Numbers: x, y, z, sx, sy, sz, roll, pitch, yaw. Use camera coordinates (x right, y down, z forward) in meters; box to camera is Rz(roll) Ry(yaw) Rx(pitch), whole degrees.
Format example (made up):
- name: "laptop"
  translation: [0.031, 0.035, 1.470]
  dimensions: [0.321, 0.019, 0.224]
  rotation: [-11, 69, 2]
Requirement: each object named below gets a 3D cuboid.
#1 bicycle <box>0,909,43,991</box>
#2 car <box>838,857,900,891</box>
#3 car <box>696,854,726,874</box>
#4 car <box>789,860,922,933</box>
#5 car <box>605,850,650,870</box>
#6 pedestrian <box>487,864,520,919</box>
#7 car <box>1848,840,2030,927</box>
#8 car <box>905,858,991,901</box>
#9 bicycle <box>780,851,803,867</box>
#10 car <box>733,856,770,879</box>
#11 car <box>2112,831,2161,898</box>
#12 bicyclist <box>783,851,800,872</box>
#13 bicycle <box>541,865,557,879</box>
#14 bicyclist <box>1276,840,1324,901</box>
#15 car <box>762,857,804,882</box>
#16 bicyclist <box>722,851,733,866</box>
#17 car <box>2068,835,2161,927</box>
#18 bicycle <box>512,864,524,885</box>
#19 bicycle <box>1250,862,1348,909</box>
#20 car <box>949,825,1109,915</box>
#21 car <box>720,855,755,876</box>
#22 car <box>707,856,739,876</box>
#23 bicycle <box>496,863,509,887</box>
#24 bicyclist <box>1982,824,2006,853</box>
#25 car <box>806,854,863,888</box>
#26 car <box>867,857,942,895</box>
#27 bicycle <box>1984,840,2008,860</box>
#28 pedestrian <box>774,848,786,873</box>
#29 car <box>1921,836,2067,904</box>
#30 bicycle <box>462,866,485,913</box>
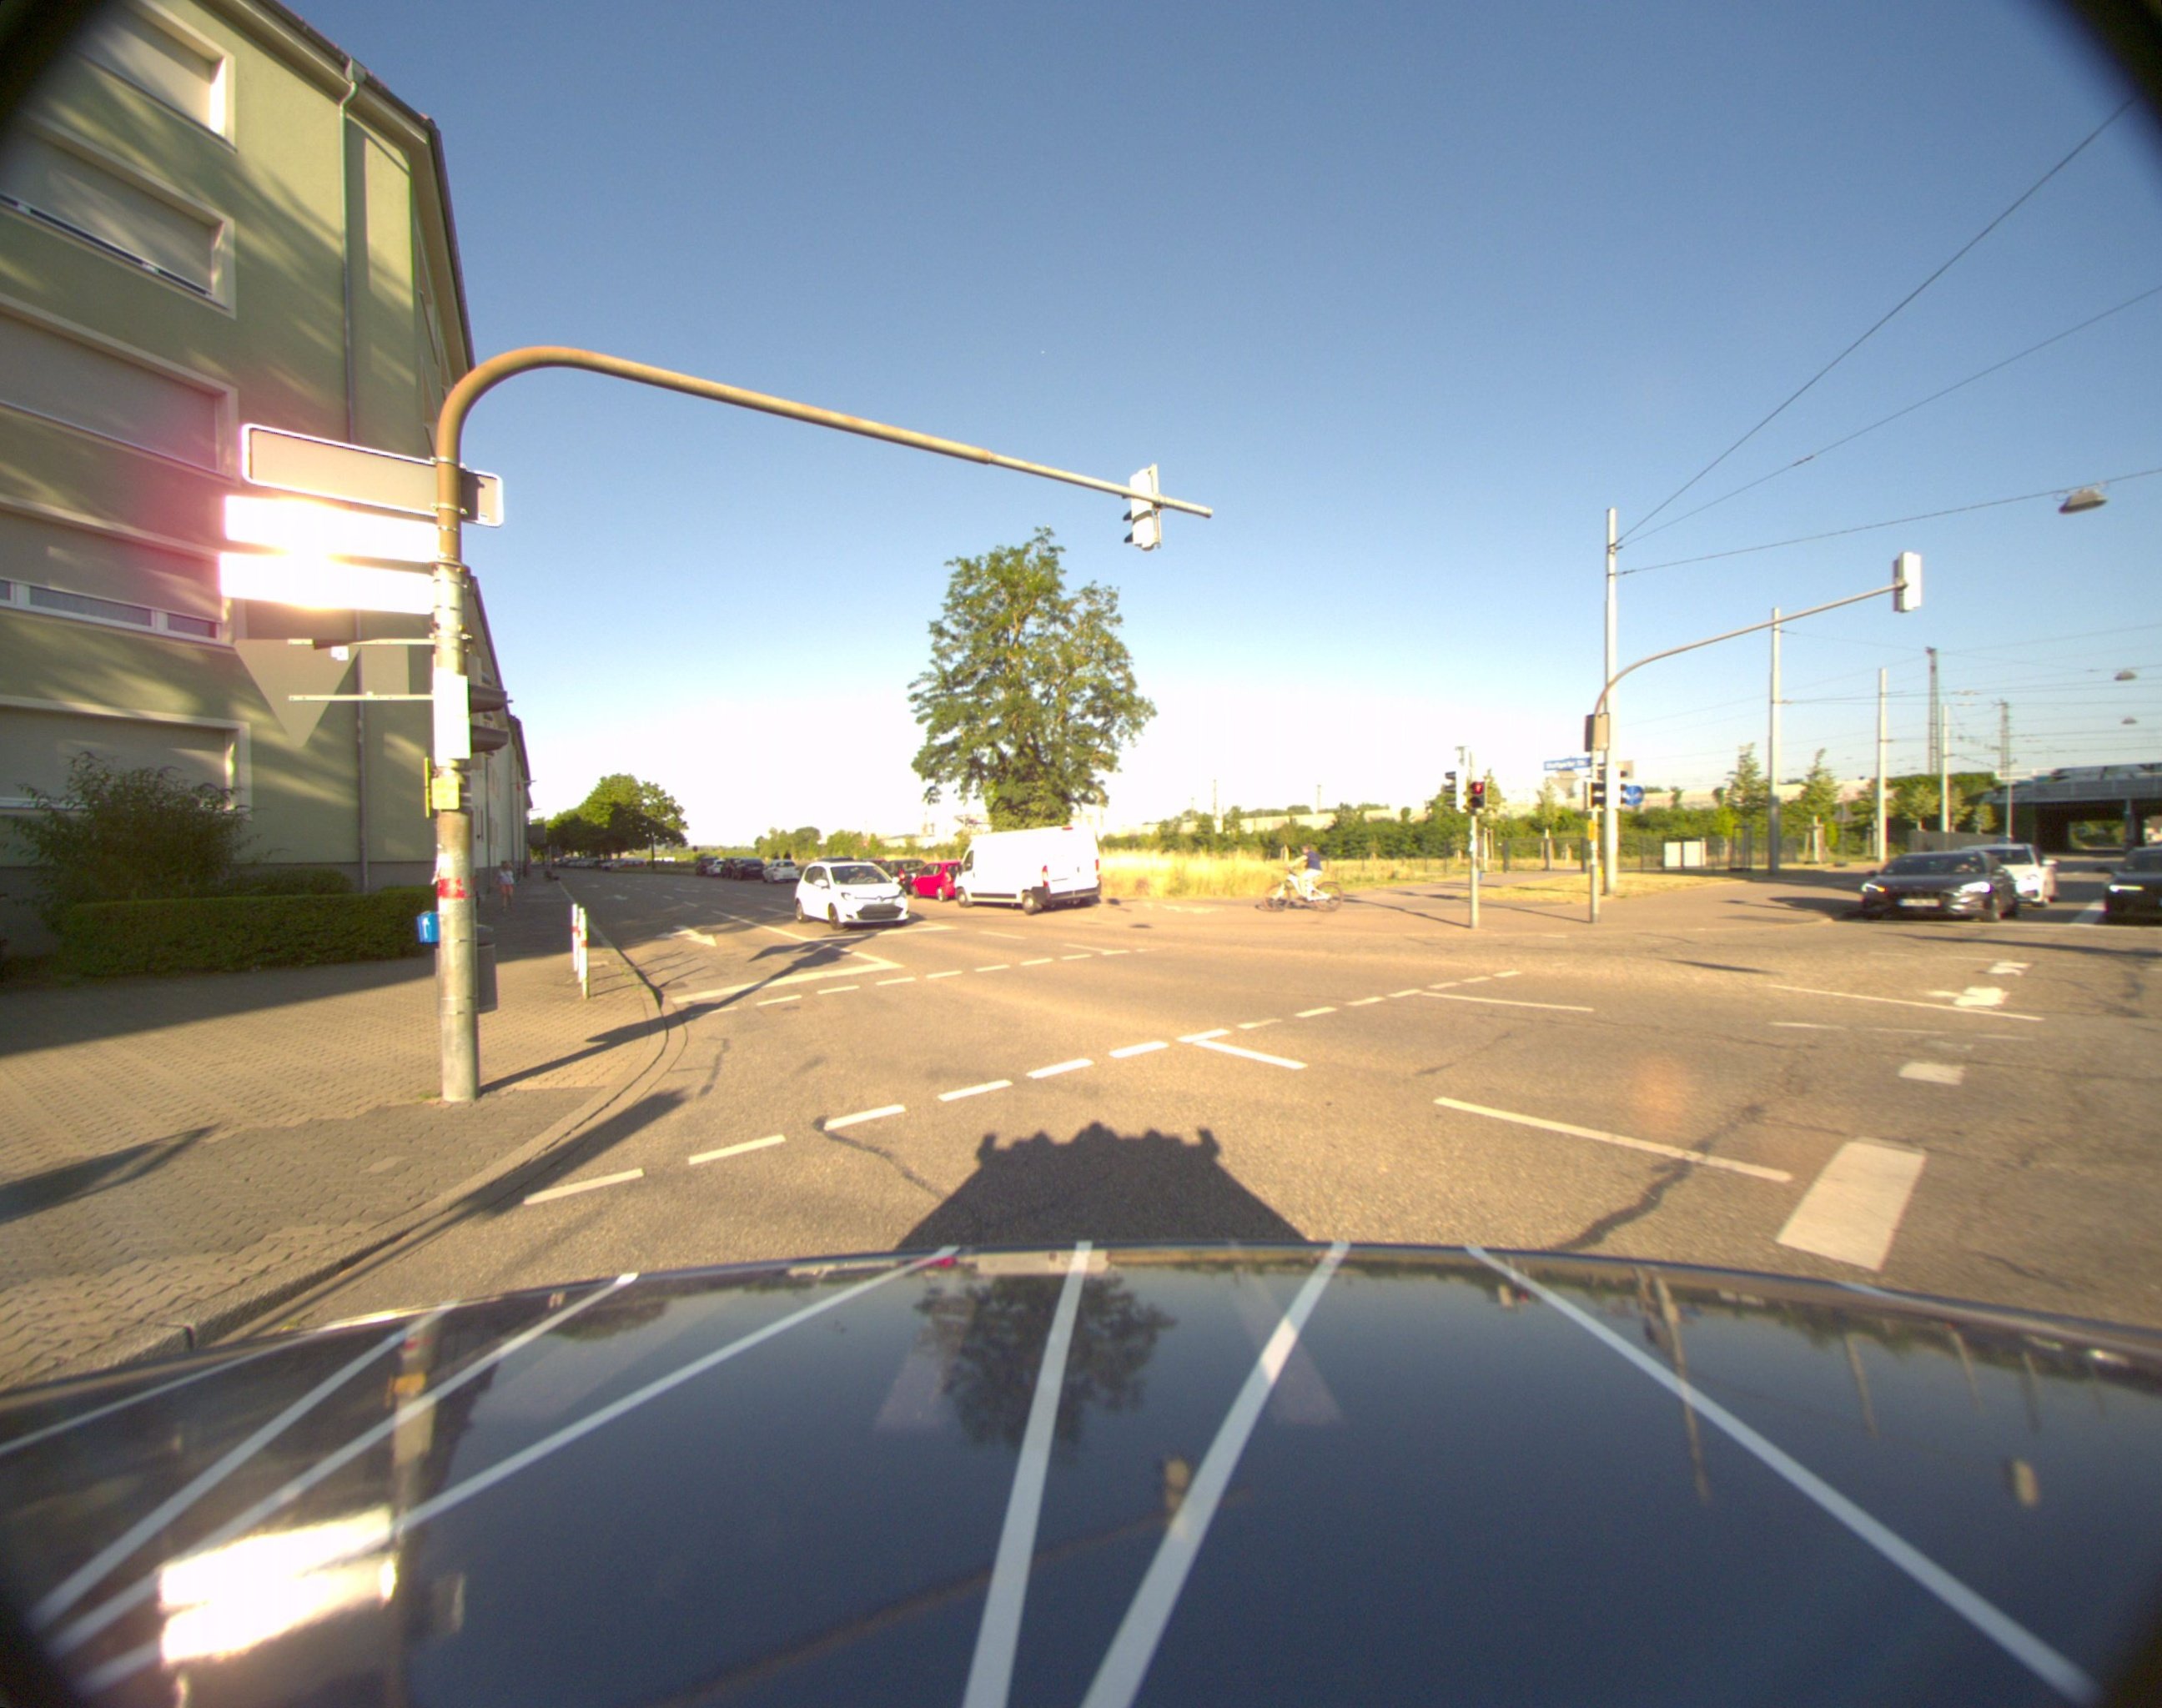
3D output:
- name: "bicycle"
  translation: [-14.453, 1.236, 9.816]
  dimensions: [1.844, 0.996, 0.647]
  rotation: [-1, 1, 17]
- name: "car"
  translation: [-10.164, 0.919, 36.337]
  dimensions: [1.668, 1.521, 3.570]
  rotation: [-2, 1, -37]
- name: "car"
  translation: [-34.052, 0.876, 69.850]
  dimensions: [1.896, 1.765, 4.208]
  rotation: [-2, 1, -34]
- name: "car"
  translation: [-5.279, 0.880, 17.503]
  dimensions: [1.709, 1.460, 3.765]
  rotation: [-2, 1, -37]
- name: "car"
  translation: [-65.682, 0.790, 110.067]
  dimensions: [5.333, 2.399, 2.260]
  rotation: [-6, 4, -36]
- name: "pedestrian"
  translation: [-18.832, 1.204, 24.790]
  dimensions: [0.789, 1.697, 0.947]
  rotation: [-1, 2, -36]
- name: "car"
  translation: [18.309, 0.551, 16.174]
  dimensions: [4.282, 1.558, 1.995]
  rotation: [-2, 0, -34]
- name: "car"
  translation: [-5.166, 0.933, 29.258]
  dimensions: [1.750, 1.478, 3.684]
  rotation: [-2, 1, -37]
- name: "bicycle"
  translation: [-22.340, 0.386, 58.538]
  dimensions: [0.942, 1.182, 2.475]
  rotation: [-2, 1, -38]
- name: "car"
  translation: [-24.320, 0.966, 55.984]
  dimensions: [1.828, 1.517, 4.279]
  rotation: [-2, 1, -32]
- name: "car"
  translation: [27.419, 0.216, 18.829]
  dimensions: [4.464, 1.558, 1.995]
  rotation: [-2, 1, -34]
- name: "bicyclist"
  translation: [-22.276, 0.549, 58.459]
  dimensions: [0.868, 1.587, 1.143]
  rotation: [-2, 1, -38]
- name: "bicycle"
  translation: [-41.482, 1.401, 59.266]
  dimensions: [0.652, 1.091, 2.196]
  rotation: [-2, 1, -45]
- name: "bicyclist"
  translation: [5.667, 0.416, 19.633]
  dimensions: [1.019, 1.538, 0.854]
  rotation: [0, 1, 29]
- name: "car"
  translation: [-19.147, 0.967, 48.726]
  dimensions: [1.710, 1.517, 3.573]
  rotation: [-2, 1, -35]
- name: "bicyclist"
  translation: [-36.948, 0.462, 79.368]
  dimensions: [0.770, 1.587, 1.143]
  rotation: [-2, 1, -34]
- name: "car"
  translation: [20.566, 0.426, 14.292]
  dimensions: [4.458, 1.558, 2.049]
  rotation: [-2, 1, -32]
- name: "bicycle"
  translation: [-36.784, 1.302, 49.680]
  dimensions: [0.519, 1.318, 2.204]
  rotation: [-2, 1, -35]
- name: "bicycle"
  translation: [5.591, 0.790, 19.523]
  dimensions: [2.286, 1.142, 0.794]
  rotation: [-1, 1, 30]
- name: "car"
  translation: [-1.806, 0.441, 24.032]
  dimensions: [2.240, 2.423, 5.546]
  rotation: [-5, 3, -37]
- name: "car"
  translation: [-27.483, 0.896, 60.717]
  dimensions: [1.828, 1.628, 4.208]
  rotation: [-2, 1, -34]
- name: "car"
  translation: [-30.674, 0.990, 65.047]
  dimensions: [1.828, 1.565, 4.208]
  rotation: [-2, 1, -34]
- name: "bicycle"
  translation: [-34.484, 1.226, 45.266]
  dimensions: [0.519, 1.404, 1.868]
  rotation: [-2, 1, -39]
- name: "bicyclist"
  translation: [50.527, -0.849, 42.057]
  dimensions: [0.859, 1.596, 0.775]
  rotation: [-1, 2, -35]
- name: "car"
  translation: [-13.007, 0.871, 39.969]
  dimensions: [1.668, 1.649, 3.995]
  rotation: [-2, 1, -37]
- name: "car"
  translation: [-7.678, 0.910, 32.821]
  dimensions: [1.750, 1.521, 3.806]
  rotation: [-2, 1, -37]
- name: "bicycle"
  translation: [50.605, -0.221, 42.023]
  dimensions: [2.023, 1.063, 0.662]
  rotation: [-1, 1, -35]
- name: "pedestrian"
  translation: [-24.227, 0.538, 61.173]
  dimensions: [0.617, 2.002, 0.728]
  rotation: [-2, 1, -38]
- name: "car"
  translation: [23.870, 0.352, 19.836]
  dimensions: [4.282, 1.558, 1.995]
  rotation: [-2, 1, -34]
- name: "bicycle"
  translation: [-19.361, 1.103, 24.191]
  dimensions: [0.519, 1.404, 1.868]
  rotation: [-2, 1, -39]
